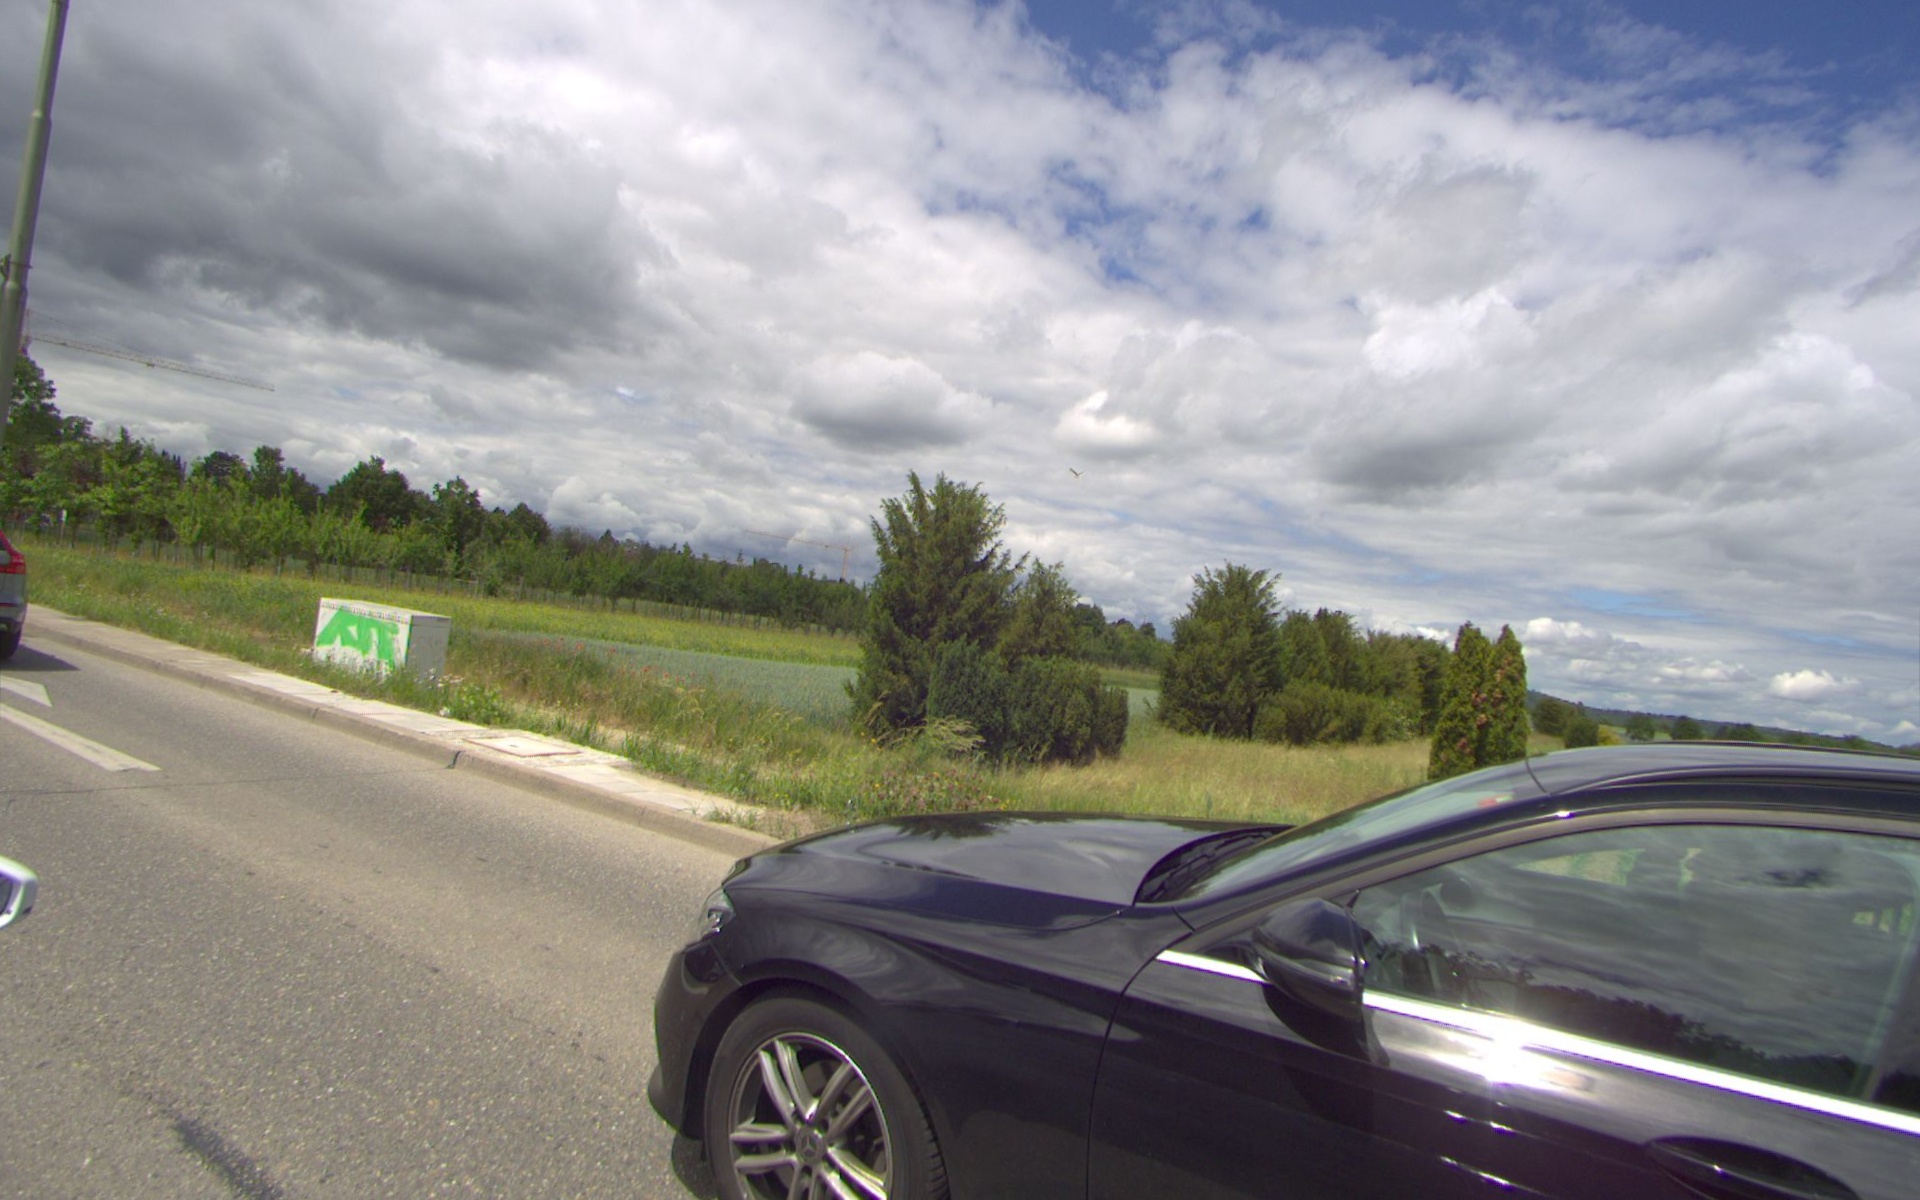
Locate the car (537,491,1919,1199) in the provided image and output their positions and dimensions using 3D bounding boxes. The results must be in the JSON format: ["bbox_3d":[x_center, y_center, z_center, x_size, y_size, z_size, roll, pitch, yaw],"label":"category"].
[{"bbox_3d":[1.508,0.888,2.044,4.725,1.556,1.841,9,0,32],"label":"car"}]

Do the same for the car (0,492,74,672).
[{"bbox_3d":[-10.334,-0.367,9.341,4.269,1.544,1.960,6,0,32],"label":"car"}]
